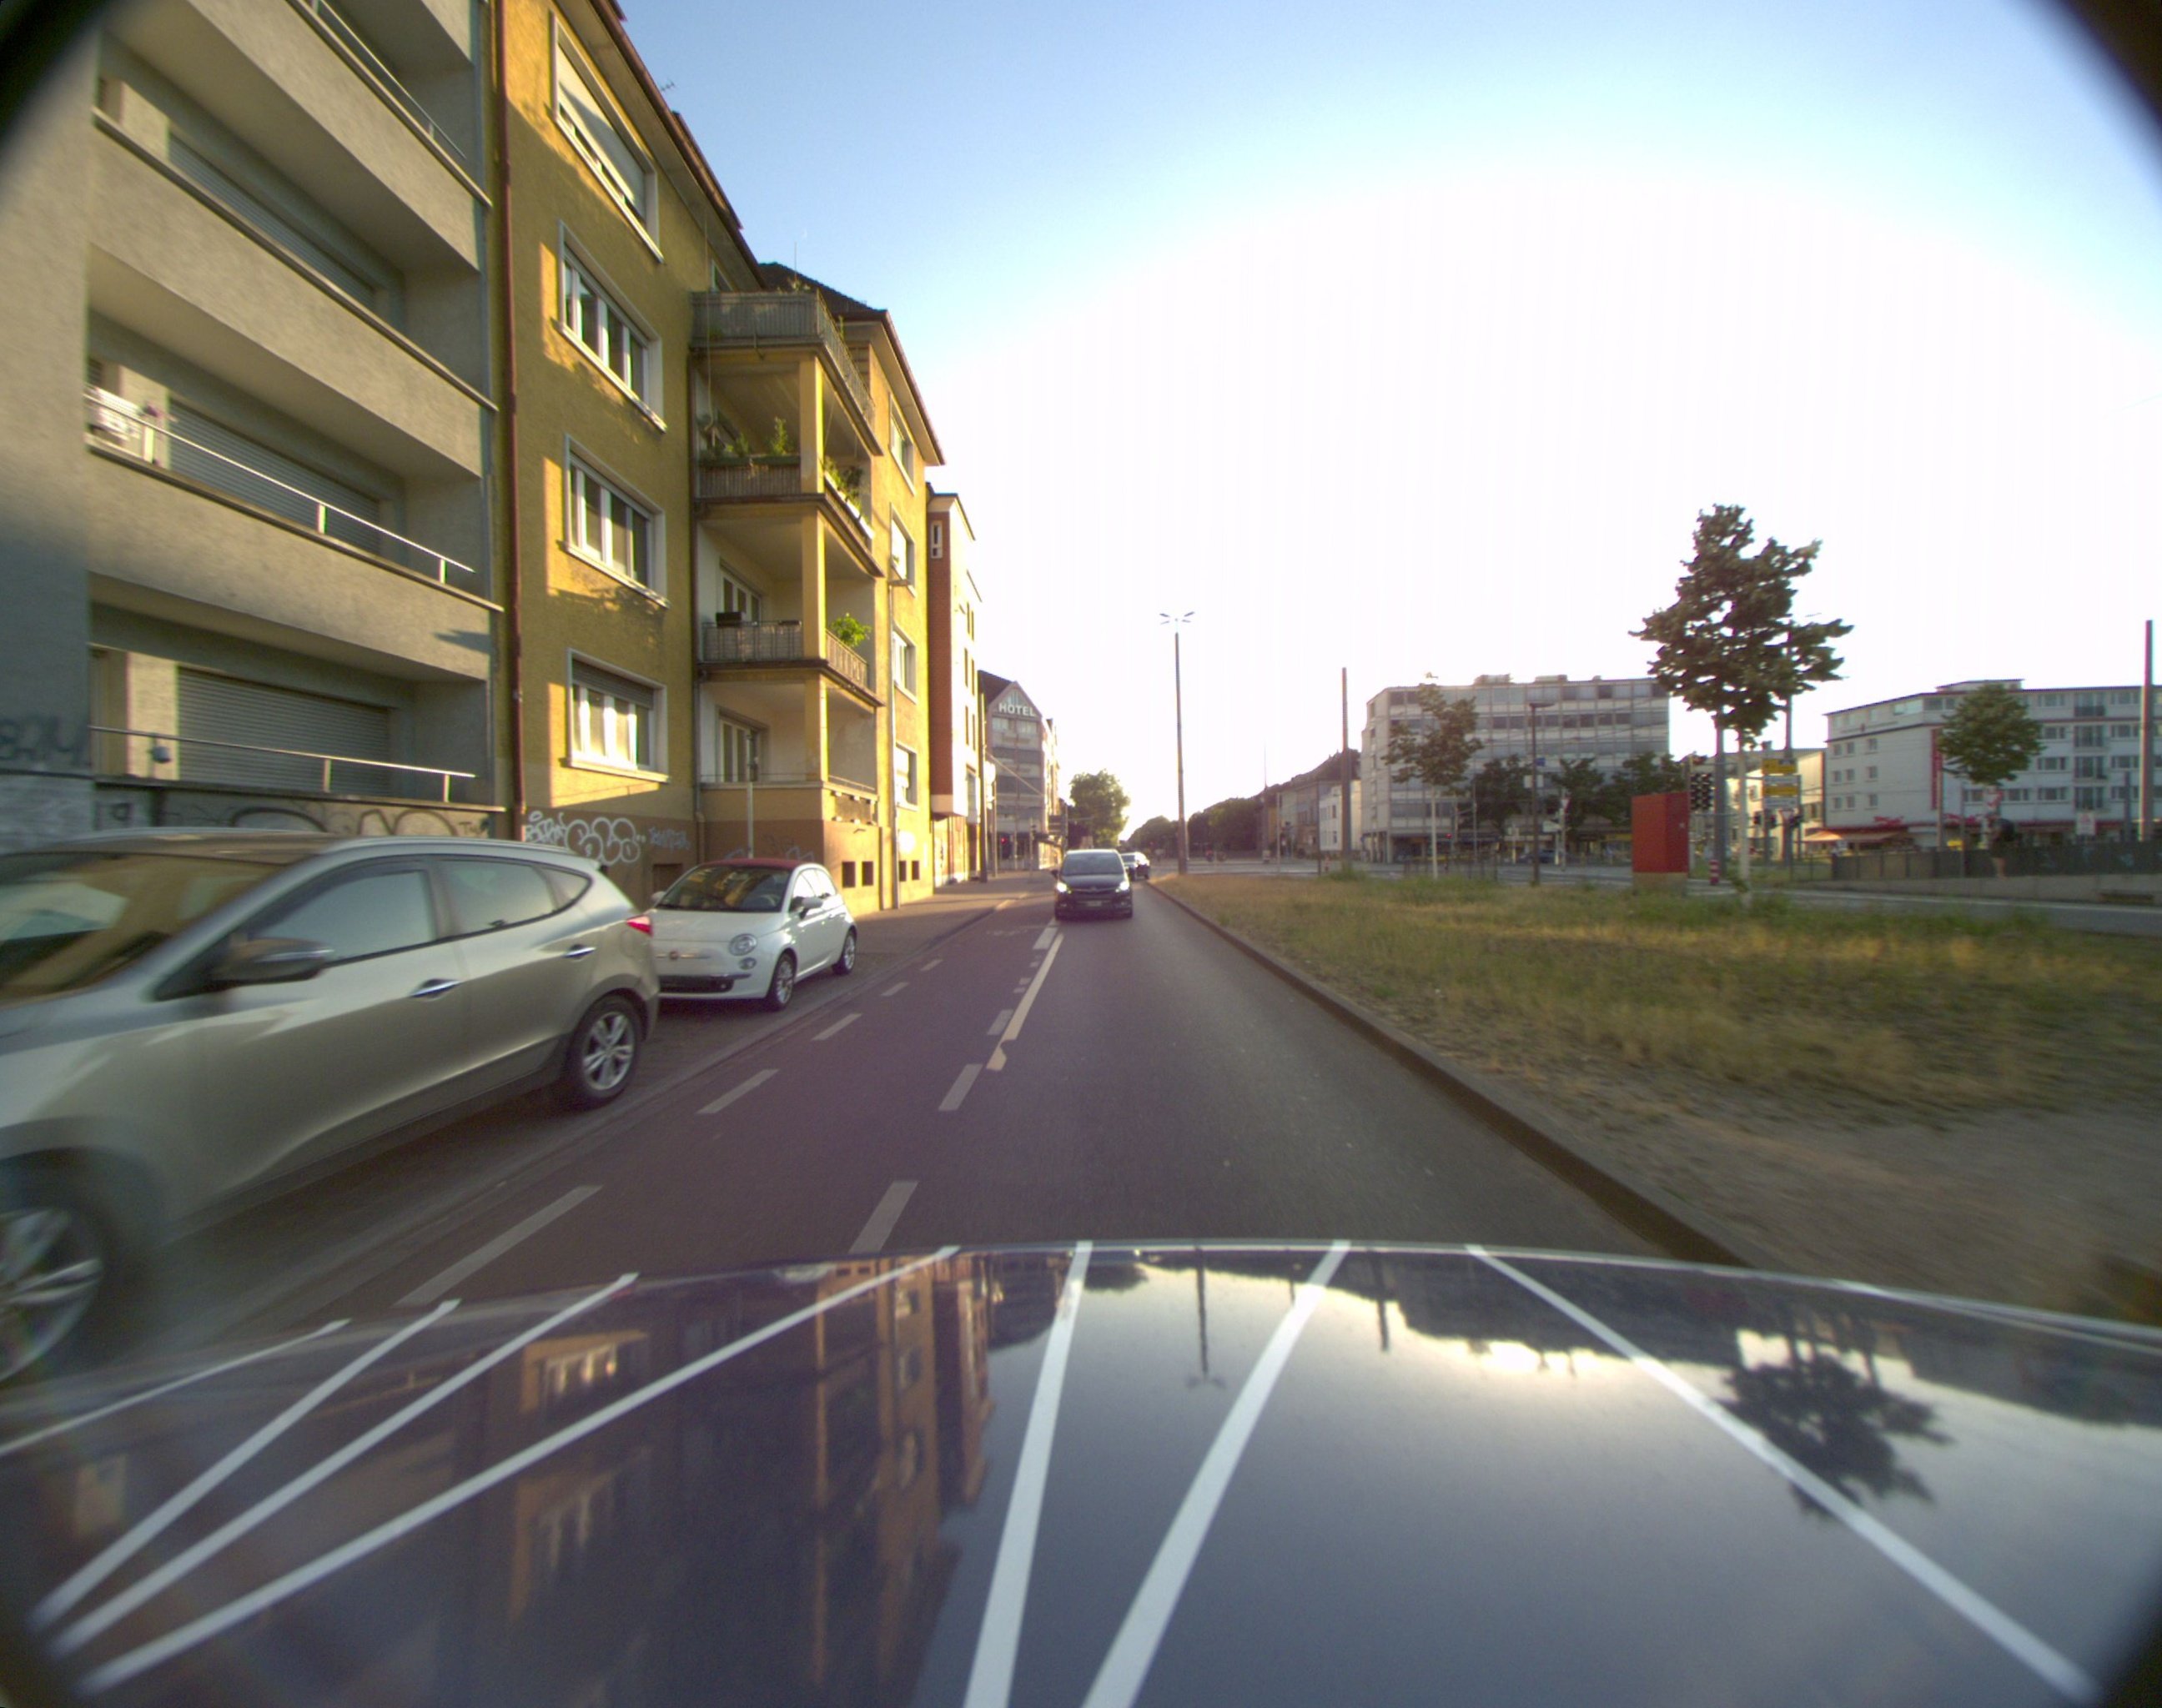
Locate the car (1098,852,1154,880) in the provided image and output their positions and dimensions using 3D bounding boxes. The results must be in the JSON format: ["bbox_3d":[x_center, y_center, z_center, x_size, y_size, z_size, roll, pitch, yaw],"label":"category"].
[{"bbox_3d":[2.450,0.613,40.282,1.848,1.399,4.231,-1,0,19],"label":"car"}]

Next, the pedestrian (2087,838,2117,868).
[{"bbox_3d":[51.032,-0.055,37.964,0.654,1.501,0.590,0,1,6],"label":"pedestrian"}]

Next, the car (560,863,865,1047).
[{"bbox_3d":[-3.804,0.925,8.585,1.673,1.509,3.601,3,0,-1],"label":"car"}]

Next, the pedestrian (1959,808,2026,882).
[{"bbox_3d":[22.826,-0.224,19.039,0.695,1.788,0.817,-1,1,3],"label":"pedestrian"}]

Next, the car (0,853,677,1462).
[{"bbox_3d":[-3.858,0.851,3.215,1.761,1.644,4.528,1,0,1],"label":"car"}]

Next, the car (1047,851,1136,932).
[{"bbox_3d":[0.269,0.770,17.864,1.800,1.609,4.387,-1,0,1],"label":"car"}]
